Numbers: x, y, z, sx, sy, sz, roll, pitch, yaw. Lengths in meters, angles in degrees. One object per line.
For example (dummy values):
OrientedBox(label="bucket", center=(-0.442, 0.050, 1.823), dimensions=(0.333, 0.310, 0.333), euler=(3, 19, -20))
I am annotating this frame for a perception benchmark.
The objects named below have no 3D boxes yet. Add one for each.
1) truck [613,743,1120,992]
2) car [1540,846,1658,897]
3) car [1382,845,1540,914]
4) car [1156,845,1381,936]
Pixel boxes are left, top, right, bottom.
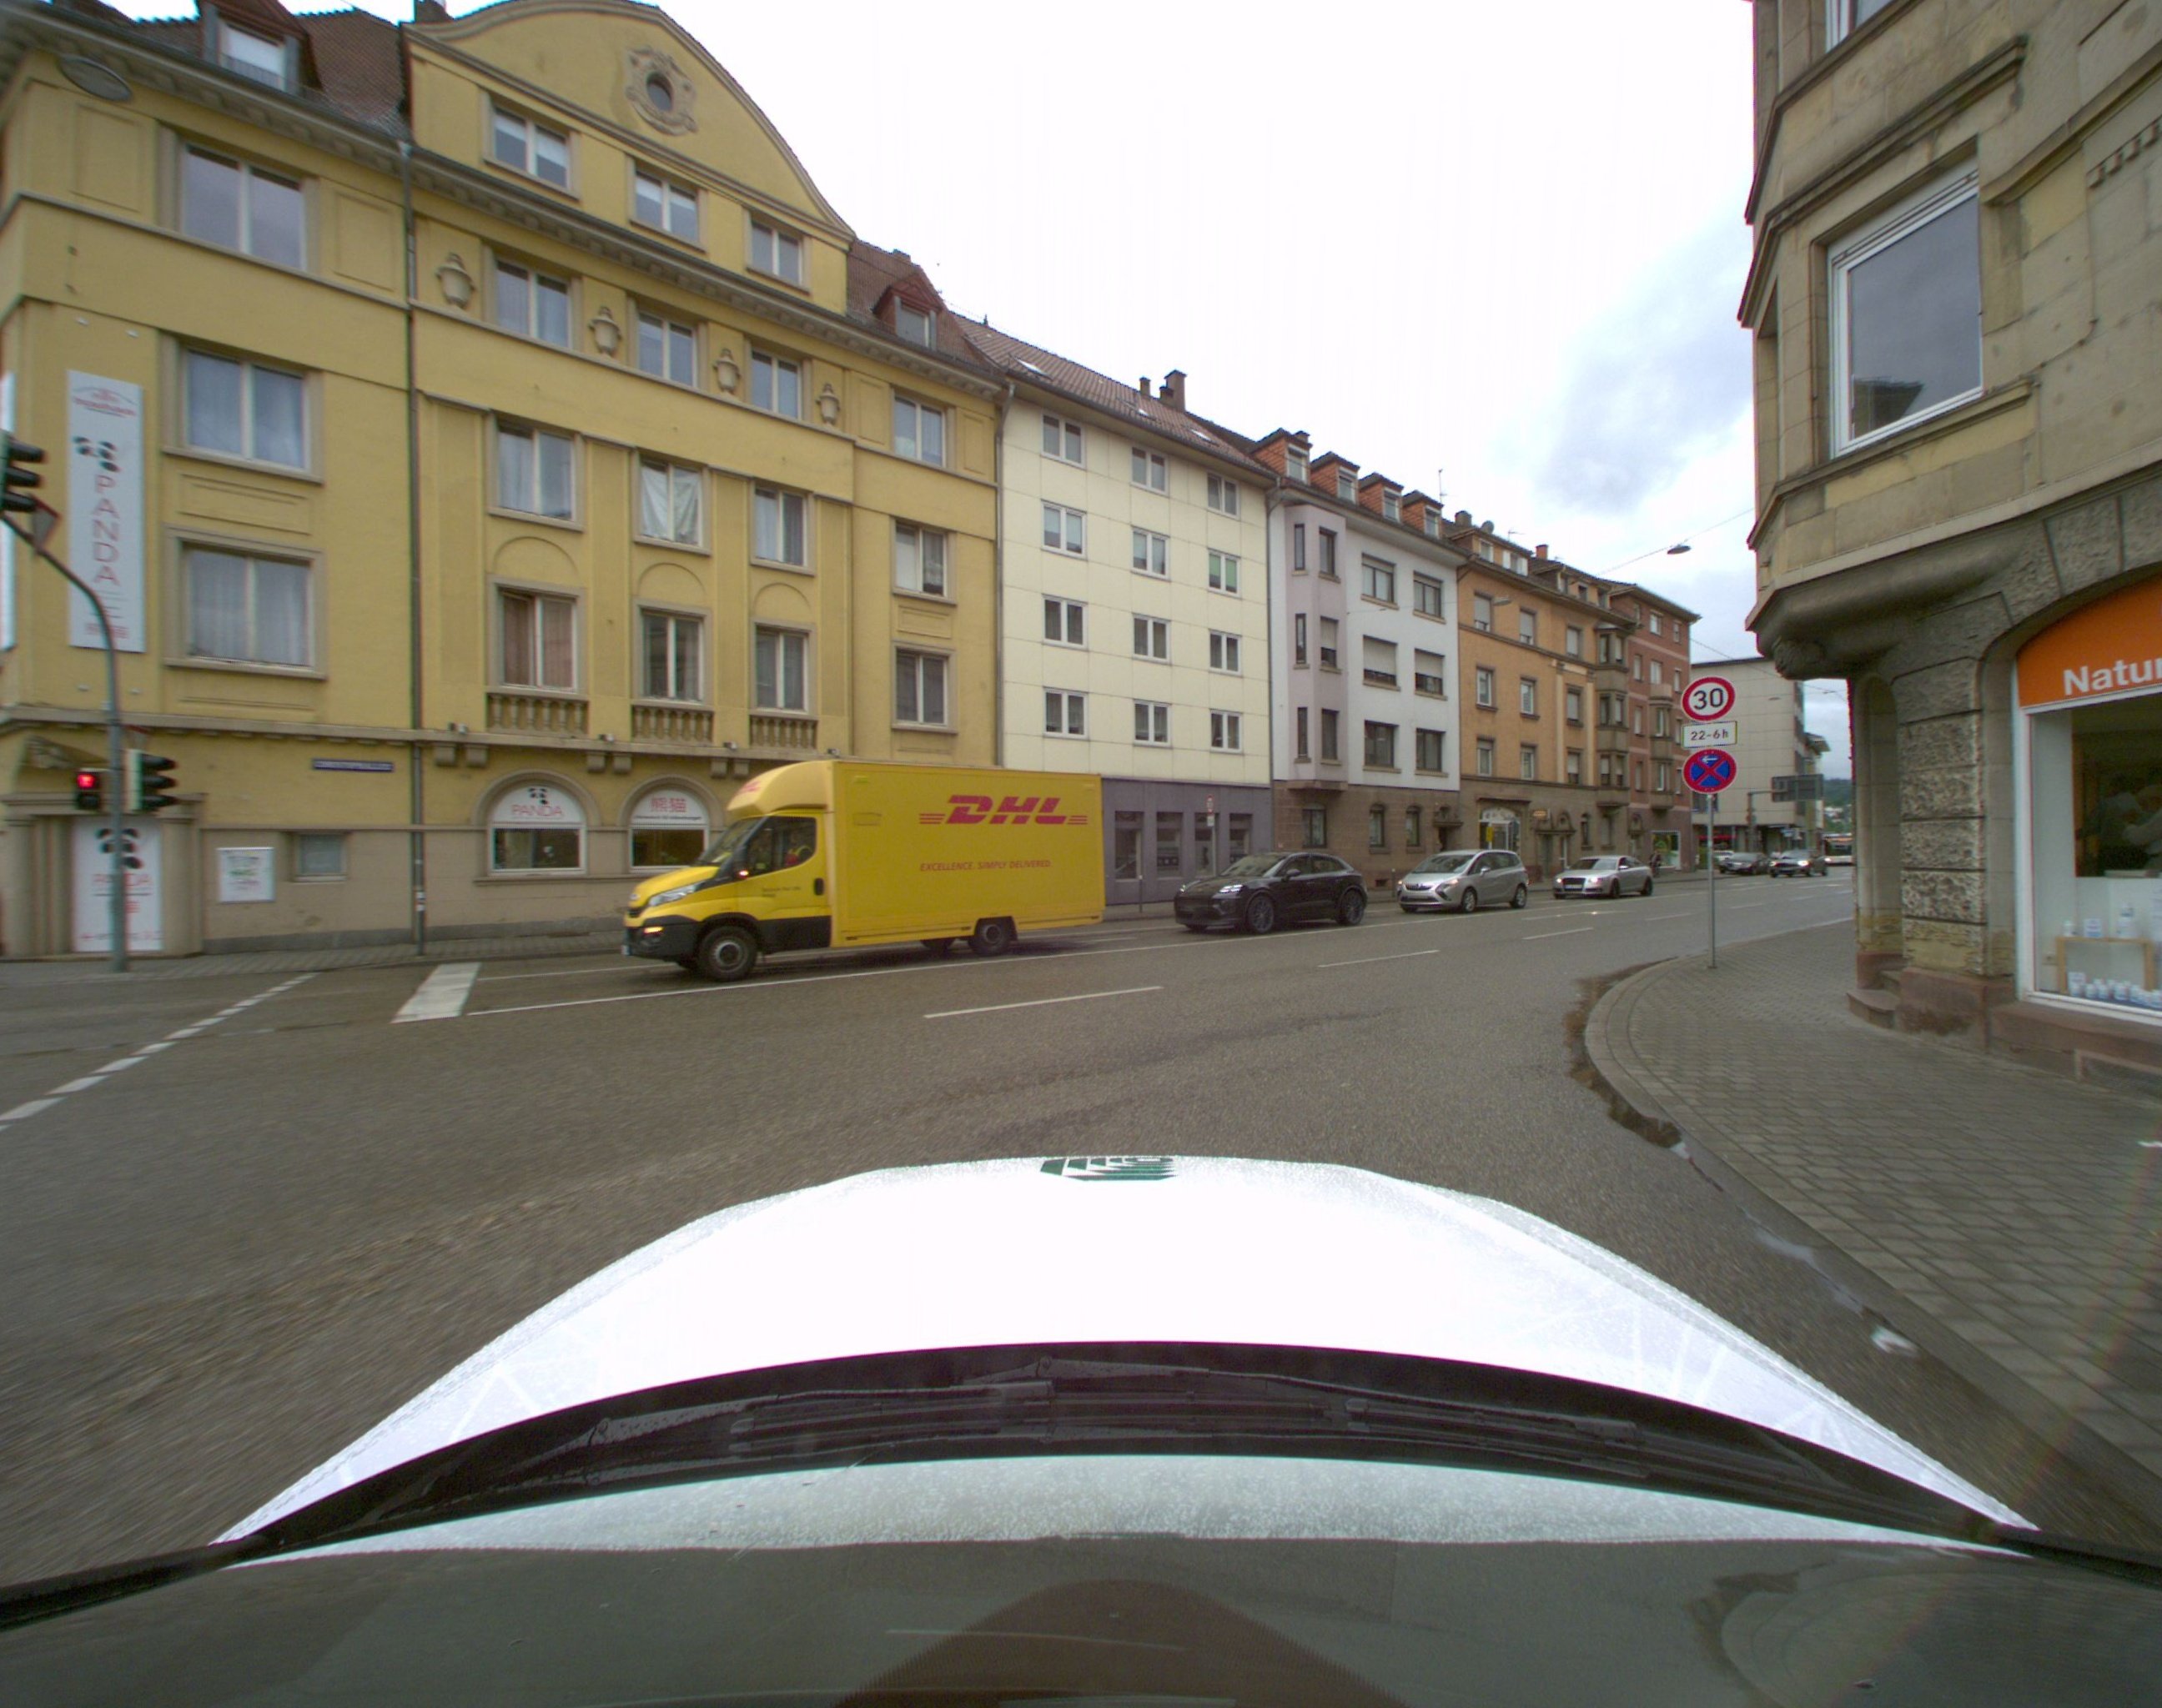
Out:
OrientedBox(label="truck", center=(-2.824, 0.150, 12.295), dimensions=(7.147, 2.851, 2.059), euler=(0, -1, -37))
OrientedBox(label="car", center=(17.485, 0.552, 27.422), dimensions=(4.253, 1.573, 1.928), euler=(0, 0, -36))
OrientedBox(label="car", center=(10.286, 0.614, 21.950), dimensions=(4.431, 1.685, 1.928), euler=(0, 0, -36))
OrientedBox(label="car", center=(4.054, 0.665, 17.228), dimensions=(4.848, 1.685, 1.978), euler=(0, 0, -37))
